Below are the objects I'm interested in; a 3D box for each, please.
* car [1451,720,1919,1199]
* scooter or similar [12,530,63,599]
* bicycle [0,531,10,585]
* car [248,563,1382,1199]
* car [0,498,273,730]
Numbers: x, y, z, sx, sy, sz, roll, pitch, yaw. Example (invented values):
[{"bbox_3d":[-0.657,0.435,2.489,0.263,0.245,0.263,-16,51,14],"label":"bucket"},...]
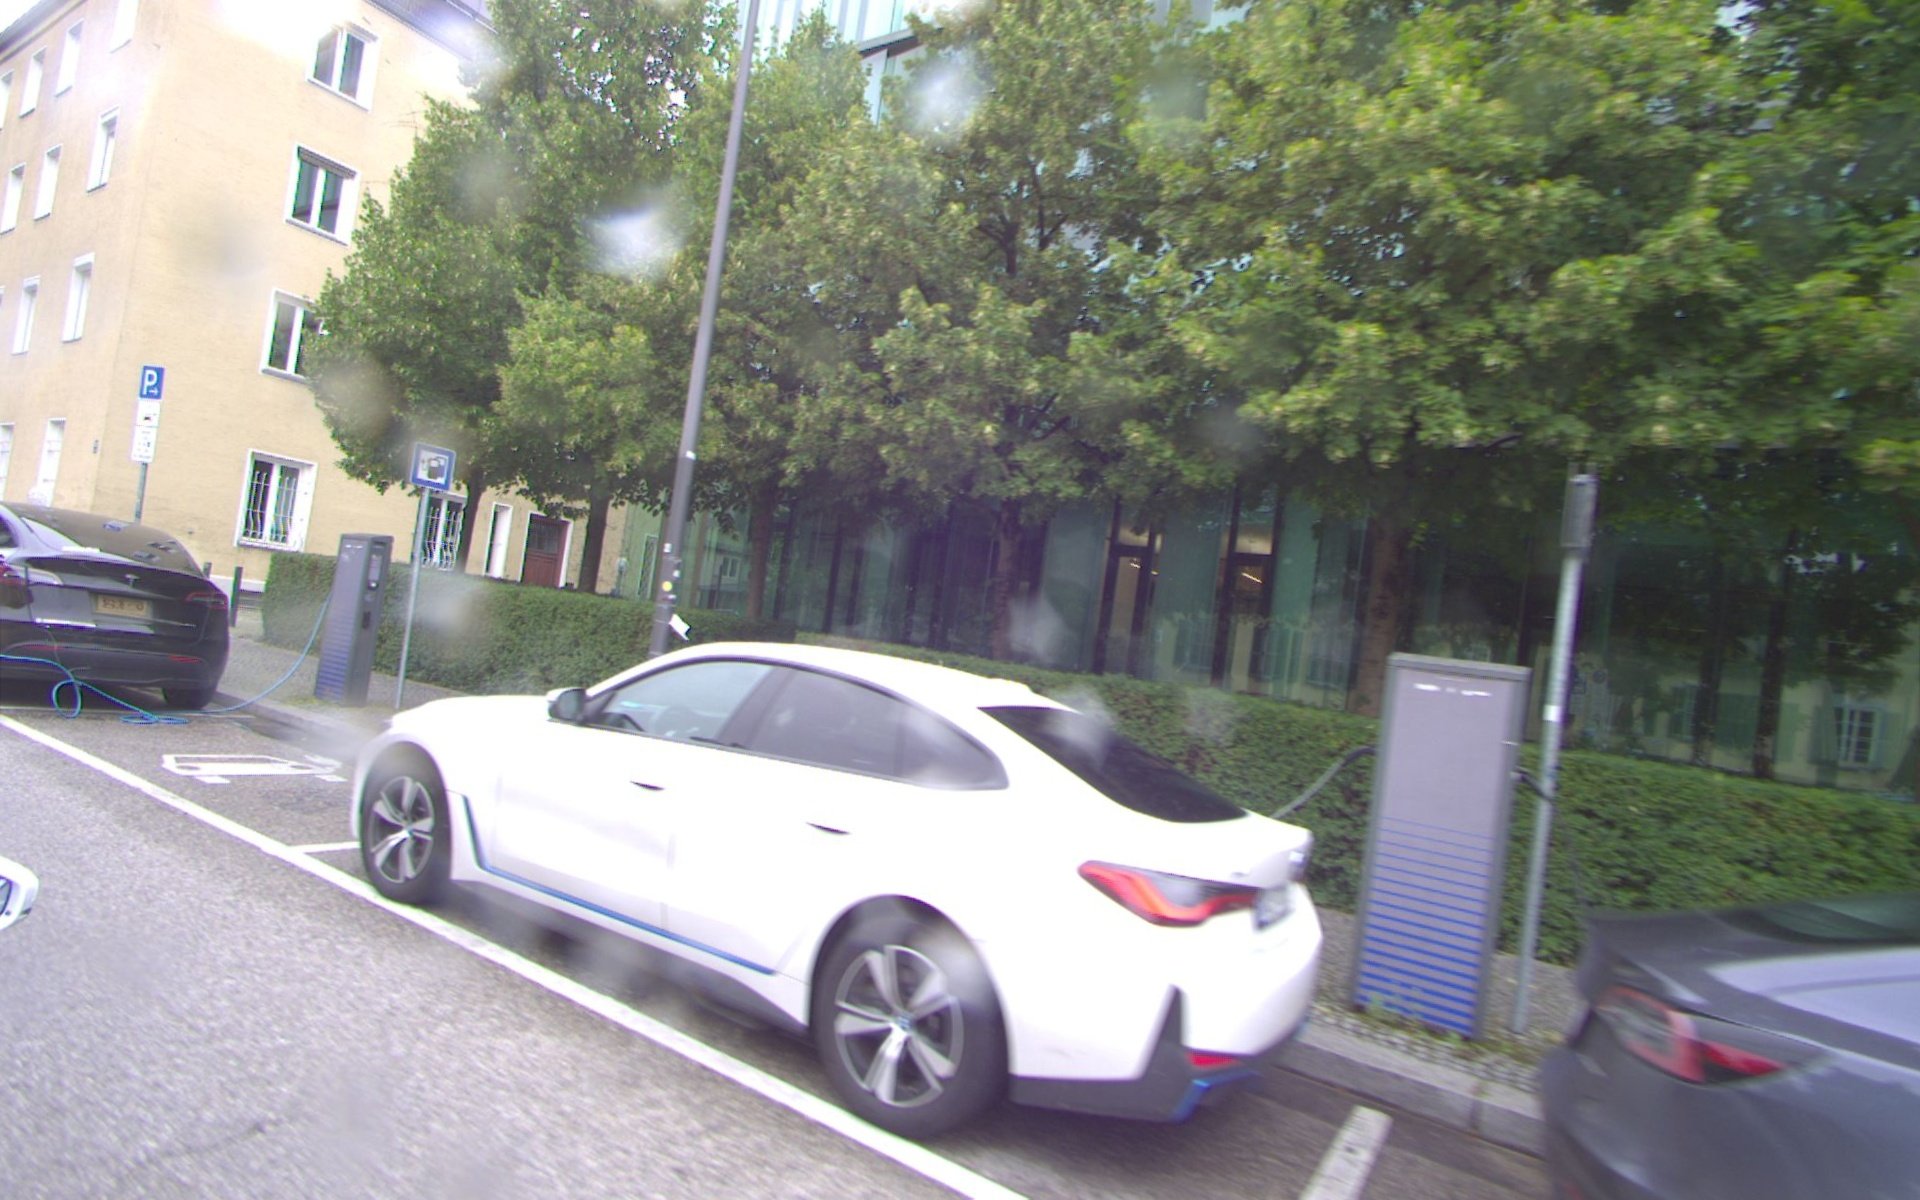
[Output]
[{"bbox_3d":[3.651,1.410,1.798,4.771,1.568,1.968,6,-5,34],"label":"car"},{"bbox_3d":[-18.554,-0.727,20.221,1.288,1.270,0.342,6,-1,33],"label":"scooter or similar"},{"bbox_3d":[-21.643,-1.001,22.284,1.730,1.148,0.342,7,-2,33],"label":"bicycle"},{"bbox_3d":[-0.873,0.917,4.648,4.874,1.475,2.000,6,-4,31],"label":"car"},{"bbox_3d":[-8.820,-0.029,9.550,5.020,1.648,1.998,6,-5,35],"label":"car"}]
